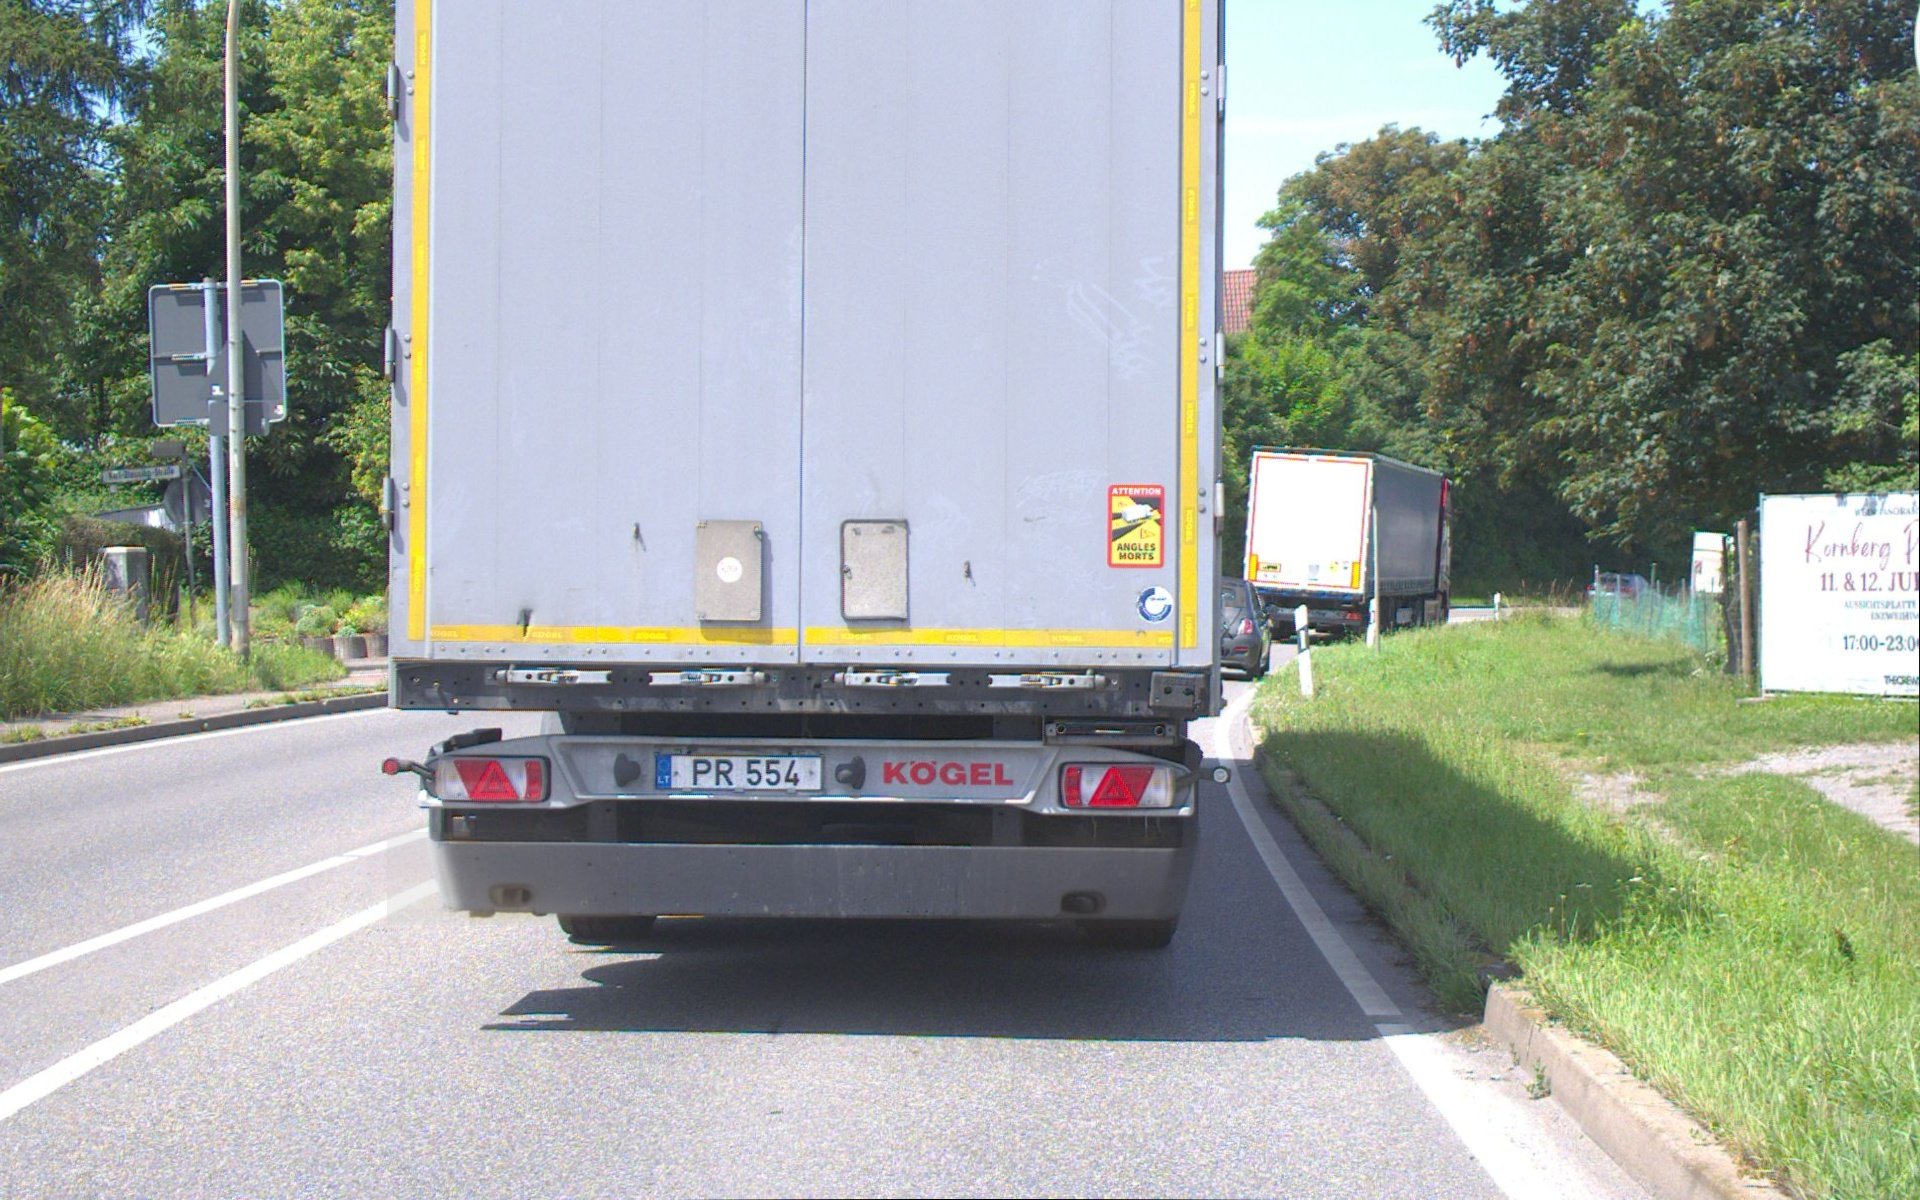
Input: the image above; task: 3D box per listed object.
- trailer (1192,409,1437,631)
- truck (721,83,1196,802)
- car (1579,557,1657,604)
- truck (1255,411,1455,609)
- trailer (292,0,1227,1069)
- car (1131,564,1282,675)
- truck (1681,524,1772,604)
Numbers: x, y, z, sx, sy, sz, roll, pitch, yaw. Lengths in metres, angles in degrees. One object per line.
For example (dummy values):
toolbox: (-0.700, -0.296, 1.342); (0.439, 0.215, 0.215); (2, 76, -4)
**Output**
trailer: (8.107, -1.715, 76.583); (3.893, 4.505, 12.706); (0, 1, 13)
truck: (0.179, -0.989, 23.018); (2.746, 4.151, 6.142); (0, 1, 4)
car: (21.665, -0.661, 113.078); (1.843, 1.481, 3.996); (0, 1, 21)
truck: (9.643, -2.134, 83.169); (3.939, 4.559, 7.147); (0, 1, 14)
trailer: (-0.251, -0.863, 16.260); (2.787, 4.191, 12.110); (0, 1, 3)
car: (3.689, 0.251, 50.900); (1.994, 1.525, 3.999); (0, 1, 8)
truck: (27.794, -1.344, 124.533); (2.423, 2.828, 5.406); (0, 1, 21)
